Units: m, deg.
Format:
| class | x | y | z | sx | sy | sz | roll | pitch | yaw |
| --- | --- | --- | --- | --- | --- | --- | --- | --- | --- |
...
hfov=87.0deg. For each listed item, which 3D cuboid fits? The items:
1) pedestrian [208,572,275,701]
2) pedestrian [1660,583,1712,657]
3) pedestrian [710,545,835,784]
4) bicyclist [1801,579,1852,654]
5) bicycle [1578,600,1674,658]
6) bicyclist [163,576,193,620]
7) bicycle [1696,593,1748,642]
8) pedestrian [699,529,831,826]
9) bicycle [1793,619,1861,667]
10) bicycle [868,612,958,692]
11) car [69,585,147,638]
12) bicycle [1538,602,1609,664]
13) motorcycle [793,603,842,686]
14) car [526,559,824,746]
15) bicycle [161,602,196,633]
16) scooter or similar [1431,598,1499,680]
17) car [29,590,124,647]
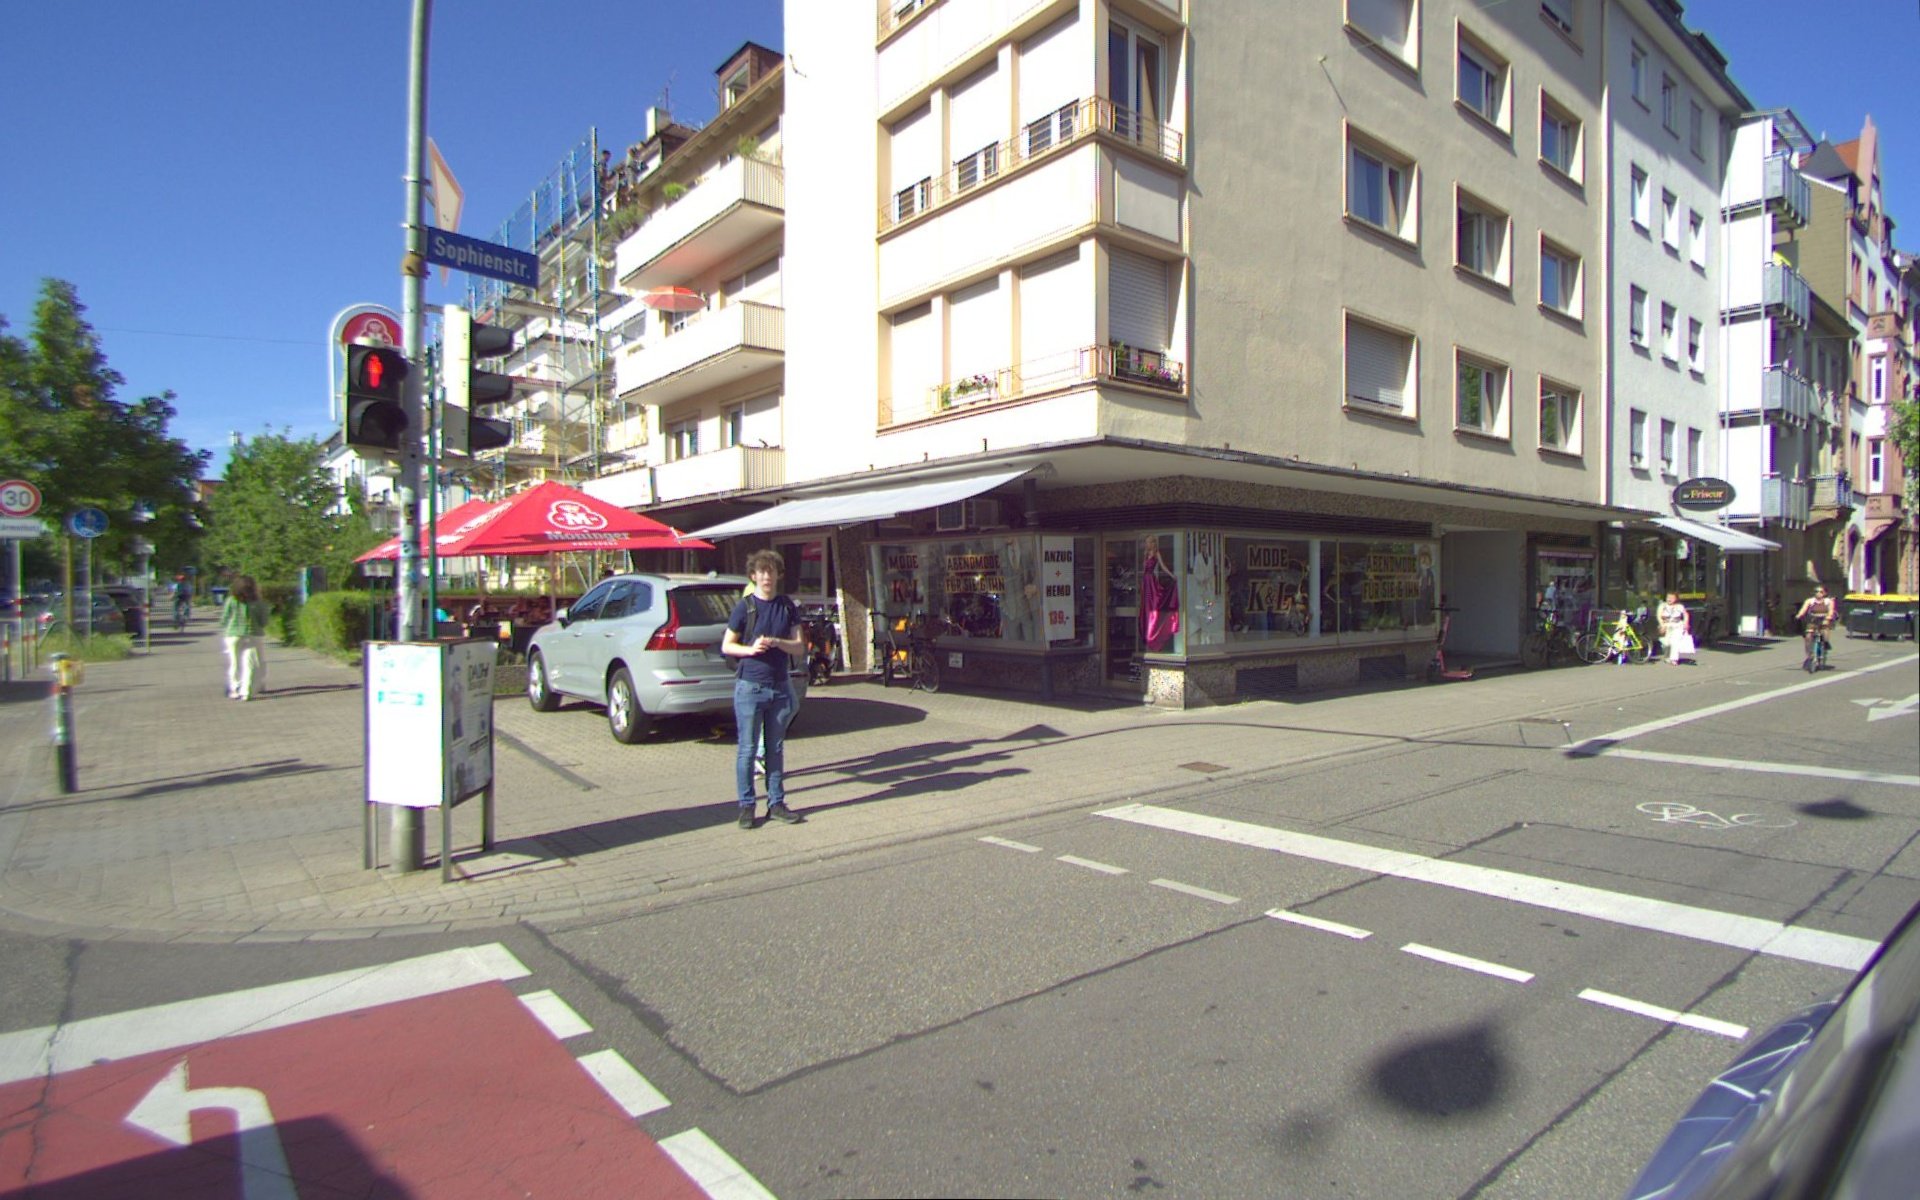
| class | x | y | z | sx | sy | sz | roll | pitch | yaw |
| --- | --- | --- | --- | --- | --- | --- | --- | --- | --- |
| pedestrian | -9.385 | 0.453 | 13.217 | 0.635 | 1.638 | 0.593 | 0 | 0 | -44 |
| pedestrian | 14.658 | 0.387 | 20.434 | 0.615 | 1.460 | 0.774 | -1 | 1 | -44 |
| pedestrian | -1.492 | 0.470 | 8.017 | 0.748 | 1.780 | 0.664 | -1 | 0 | -34 |
| bicyclist | 16.439 | 0.299 | 19.199 | 0.652 | 1.394 | 0.583 | 0 | 0 | -35 |
| bicycle | 13.399 | 0.572 | 20.396 | 1.476 | 1.120 | 0.719 | 0 | 1 | 19 |
| bicyclist | -25.212 | -0.073 | 32.636 | 0.881 | 1.381 | 0.644 | 0 | 1 | 44 |
| bicycle | 19.207 | 0.427 | 25.499 | 1.742 | 1.157 | 0.598 | -1 | 3 | -40 |
| pedestrian | -1.290 | 0.472 | 6.717 | 0.625 | 1.845 | 0.598 | 0 | 0 | 36 |
| bicycle | 16.506 | 0.804 | 19.248 | 1.677 | 0.816 | 0.583 | -1 | 1 | -35 |
| bicycle | -0.717 | 0.714 | 14.673 | 0.556 | 1.030 | 1.898 | 0 | 1 | -28 |
| car | -25.471 | 0.290 | 30.352 | 1.683 | 1.472 | 3.996 | -1 | 1 | -39 |
| bicycle | 11.558 | 0.604 | 19.048 | 1.766 | 1.098 | 0.408 | 0 | 3 | -35 |
| motorcycle | -2.194 | 0.649 | 15.775 | 0.556 | 1.181 | 2.015 | 0 | 1 | -2 |
| car | -3.307 | 0.439 | 11.223 | 1.792 | 1.683 | 3.996 | -1 | 1 | -38 |
| bicycle | -25.203 | 0.549 | 32.633 | 1.999 | 0.962 | 0.644 | 1 | 1 | 45 |
| scooter or similar | 8.007 | 0.590 | 16.035 | 1.207 | 1.240 | 0.527 | -1 | 1 | -40 |
| car | -22.646 | 0.406 | 26.052 | 1.683 | 1.331 | 3.996 | -1 | 1 | -39 |
